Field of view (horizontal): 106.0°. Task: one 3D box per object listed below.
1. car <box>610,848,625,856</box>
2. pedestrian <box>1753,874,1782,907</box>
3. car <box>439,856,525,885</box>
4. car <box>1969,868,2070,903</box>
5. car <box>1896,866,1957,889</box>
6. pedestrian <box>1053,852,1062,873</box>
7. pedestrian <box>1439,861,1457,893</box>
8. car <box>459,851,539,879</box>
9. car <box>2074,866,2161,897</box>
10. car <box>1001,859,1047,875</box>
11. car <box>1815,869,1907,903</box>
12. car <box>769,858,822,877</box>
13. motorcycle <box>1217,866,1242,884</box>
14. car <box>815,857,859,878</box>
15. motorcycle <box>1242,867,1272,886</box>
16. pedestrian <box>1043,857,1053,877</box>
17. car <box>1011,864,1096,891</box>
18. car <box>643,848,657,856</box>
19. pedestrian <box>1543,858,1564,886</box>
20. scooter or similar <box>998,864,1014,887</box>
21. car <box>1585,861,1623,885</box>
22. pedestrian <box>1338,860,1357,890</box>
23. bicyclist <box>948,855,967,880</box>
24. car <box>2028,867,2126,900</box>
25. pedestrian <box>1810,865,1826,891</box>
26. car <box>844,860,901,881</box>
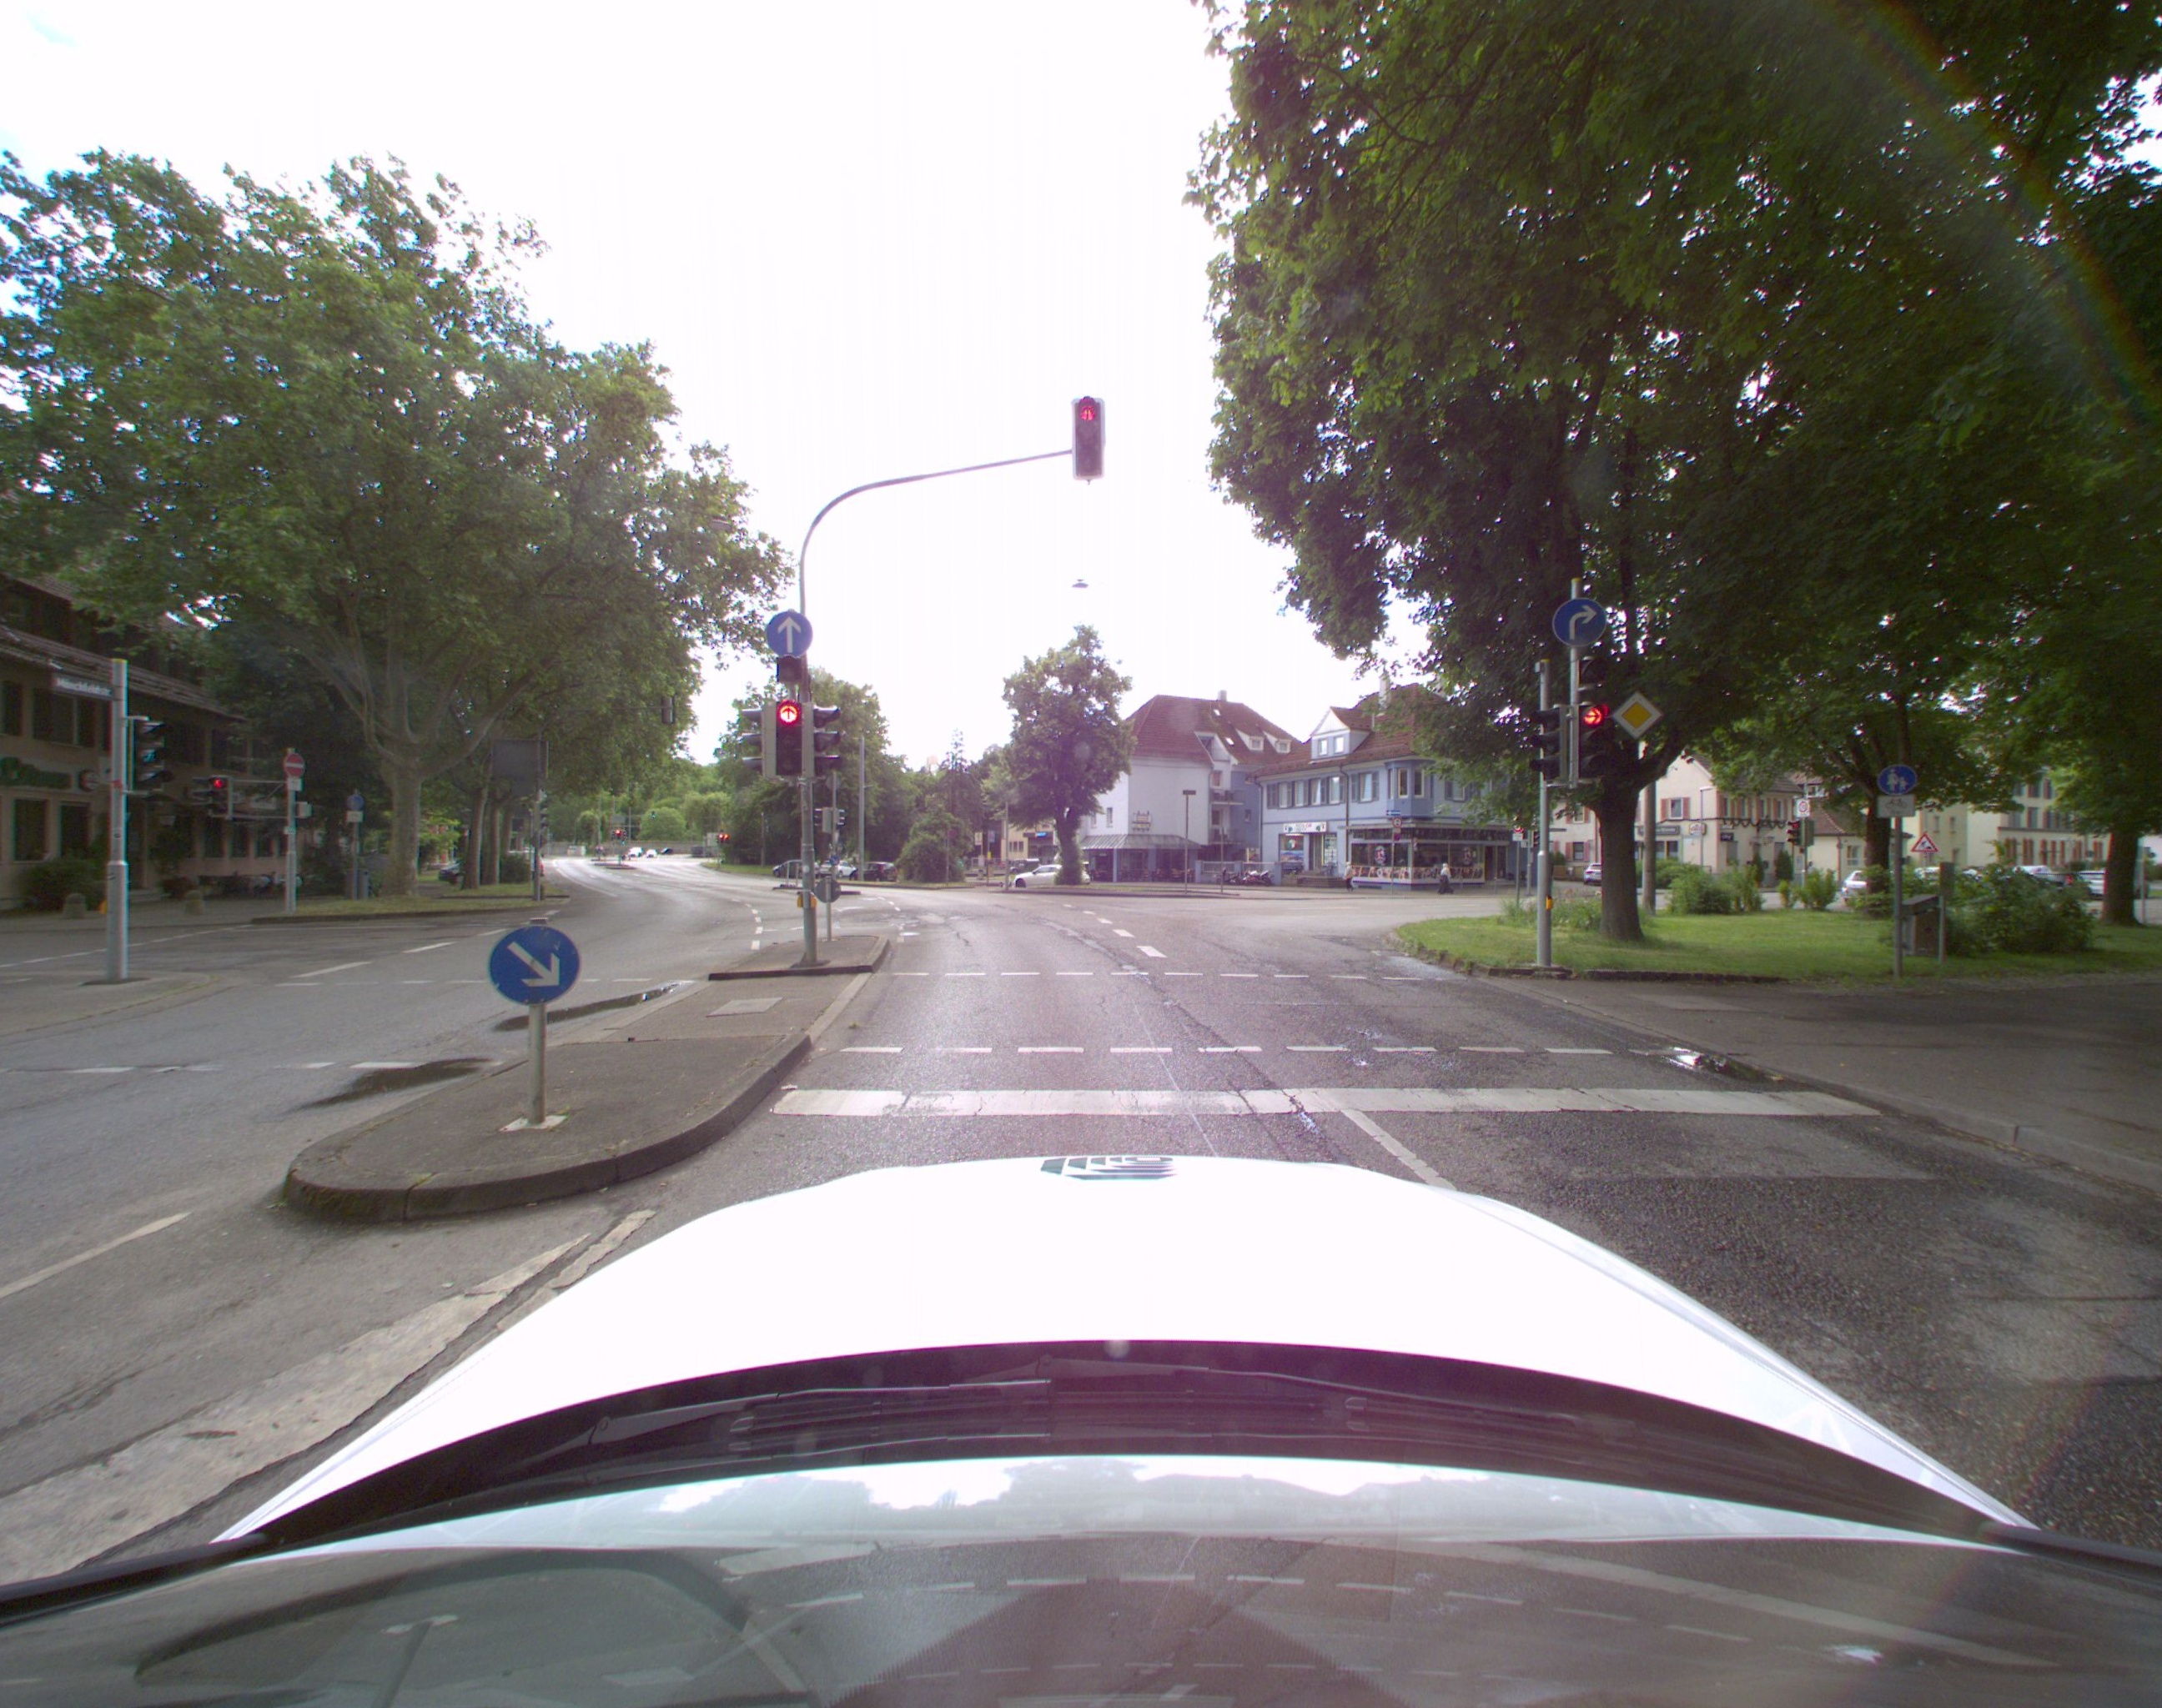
[{"bbox_3d":[-87.142,-0.395,153.153,3.293,1.486,1.594,-1,-2,43],"label":"car"},{"bbox_3d":[22.735,1.209,26.978,0.505,1.081,0.514,0,-1,-13],"label":"pedestrian"},{"bbox_3d":[-35.629,0.958,48.609,4.015,1.684,1.979,0,-1,-34],"label":"car"},{"bbox_3d":[42.346,1.385,36.754,3.731,1.457,1.640,0,0,-17],"label":"car"},{"bbox_3d":[55.200,1.517,53.141,3.871,1.447,1.753,0,-1,-28],"label":"car"},{"bbox_3d":[-1.717,0.620,59.476,0.538,1.560,0.470,-1,-1,15],"label":"pedestrian"},{"bbox_3d":[18.137,1.110,40.279,0.687,1.560,0.671,-1,-1,33],"label":"pedestrian"},{"bbox_3d":[-36.459,0.683,51.178,4.015,1.684,1.979,0,-1,-34],"label":"car"},{"bbox_3d":[52.596,1.376,41.254,3.731,1.457,1.640,0,0,-17],"label":"car"},{"bbox_3d":[-5.319,1.239,75.919,3.948,1.442,1.742,0,0,-18],"label":"car"},{"bbox_3d":[31.838,1.276,33.254,3.007,1.267,1.455,0,-1,-17],"label":"car"},{"bbox_3d":[-22.589,1.031,64.517,3.742,1.465,1.629,0,0,20],"label":"car"},{"bbox_3d":[9.135,1.312,50.048,1.441,1.088,0.527,-1,-1,37],"label":"motorcycle"},{"bbox_3d":[-20.134,1.090,67.408,1.848,1.640,3.768,0,0,13],"label":"car"},{"bbox_3d":[10.428,1.323,48.245,1.609,1.088,0.631,-1,-1,34],"label":"motorcycle"},{"bbox_3d":[-3.250,1.305,81.189,0.838,2.014,1.051,0,-1,-12],"label":"pedestrian"},{"bbox_3d":[-1.594,1.289,45.934,4.654,1.410,1.914,0,-1,37],"label":"car"},{"bbox_3d":[-83.246,-0.369,157.395,2.988,1.417,1.509,-1,-2,43],"label":"car"},{"bbox_3d":[26.370,0.991,45.471,0.671,1.560,0.743,0,-1,-13],"label":"pedestrian"},{"bbox_3d":[-3.952,1.143,42.847,0.439,1.175,1.442,-1,-1,11],"label":"scooter or similar"},{"bbox_3d":[32.459,1.146,50.621,1.866,1.391,3.637,0,0,31],"label":"car"},{"bbox_3d":[14.067,1.101,42.999,0.724,1.560,0.773,-1,-1,33],"label":"pedestrian"},{"bbox_3d":[-8.557,0.928,56.515,0.976,1.651,0.924,-1,-1,40],"label":"bicyclist"},{"bbox_3d":[47.080,1.376,38.517,3.731,1.457,1.640,0,0,-17],"label":"car"},{"bbox_3d":[44.998,1.458,49.748,0.504,1.560,0.507,0,-1,-13],"label":"pedestrian"},{"bbox_3d":[-13.826,1.059,54.002,3.285,1.352,1.791,0,0,29],"label":"car"}]
